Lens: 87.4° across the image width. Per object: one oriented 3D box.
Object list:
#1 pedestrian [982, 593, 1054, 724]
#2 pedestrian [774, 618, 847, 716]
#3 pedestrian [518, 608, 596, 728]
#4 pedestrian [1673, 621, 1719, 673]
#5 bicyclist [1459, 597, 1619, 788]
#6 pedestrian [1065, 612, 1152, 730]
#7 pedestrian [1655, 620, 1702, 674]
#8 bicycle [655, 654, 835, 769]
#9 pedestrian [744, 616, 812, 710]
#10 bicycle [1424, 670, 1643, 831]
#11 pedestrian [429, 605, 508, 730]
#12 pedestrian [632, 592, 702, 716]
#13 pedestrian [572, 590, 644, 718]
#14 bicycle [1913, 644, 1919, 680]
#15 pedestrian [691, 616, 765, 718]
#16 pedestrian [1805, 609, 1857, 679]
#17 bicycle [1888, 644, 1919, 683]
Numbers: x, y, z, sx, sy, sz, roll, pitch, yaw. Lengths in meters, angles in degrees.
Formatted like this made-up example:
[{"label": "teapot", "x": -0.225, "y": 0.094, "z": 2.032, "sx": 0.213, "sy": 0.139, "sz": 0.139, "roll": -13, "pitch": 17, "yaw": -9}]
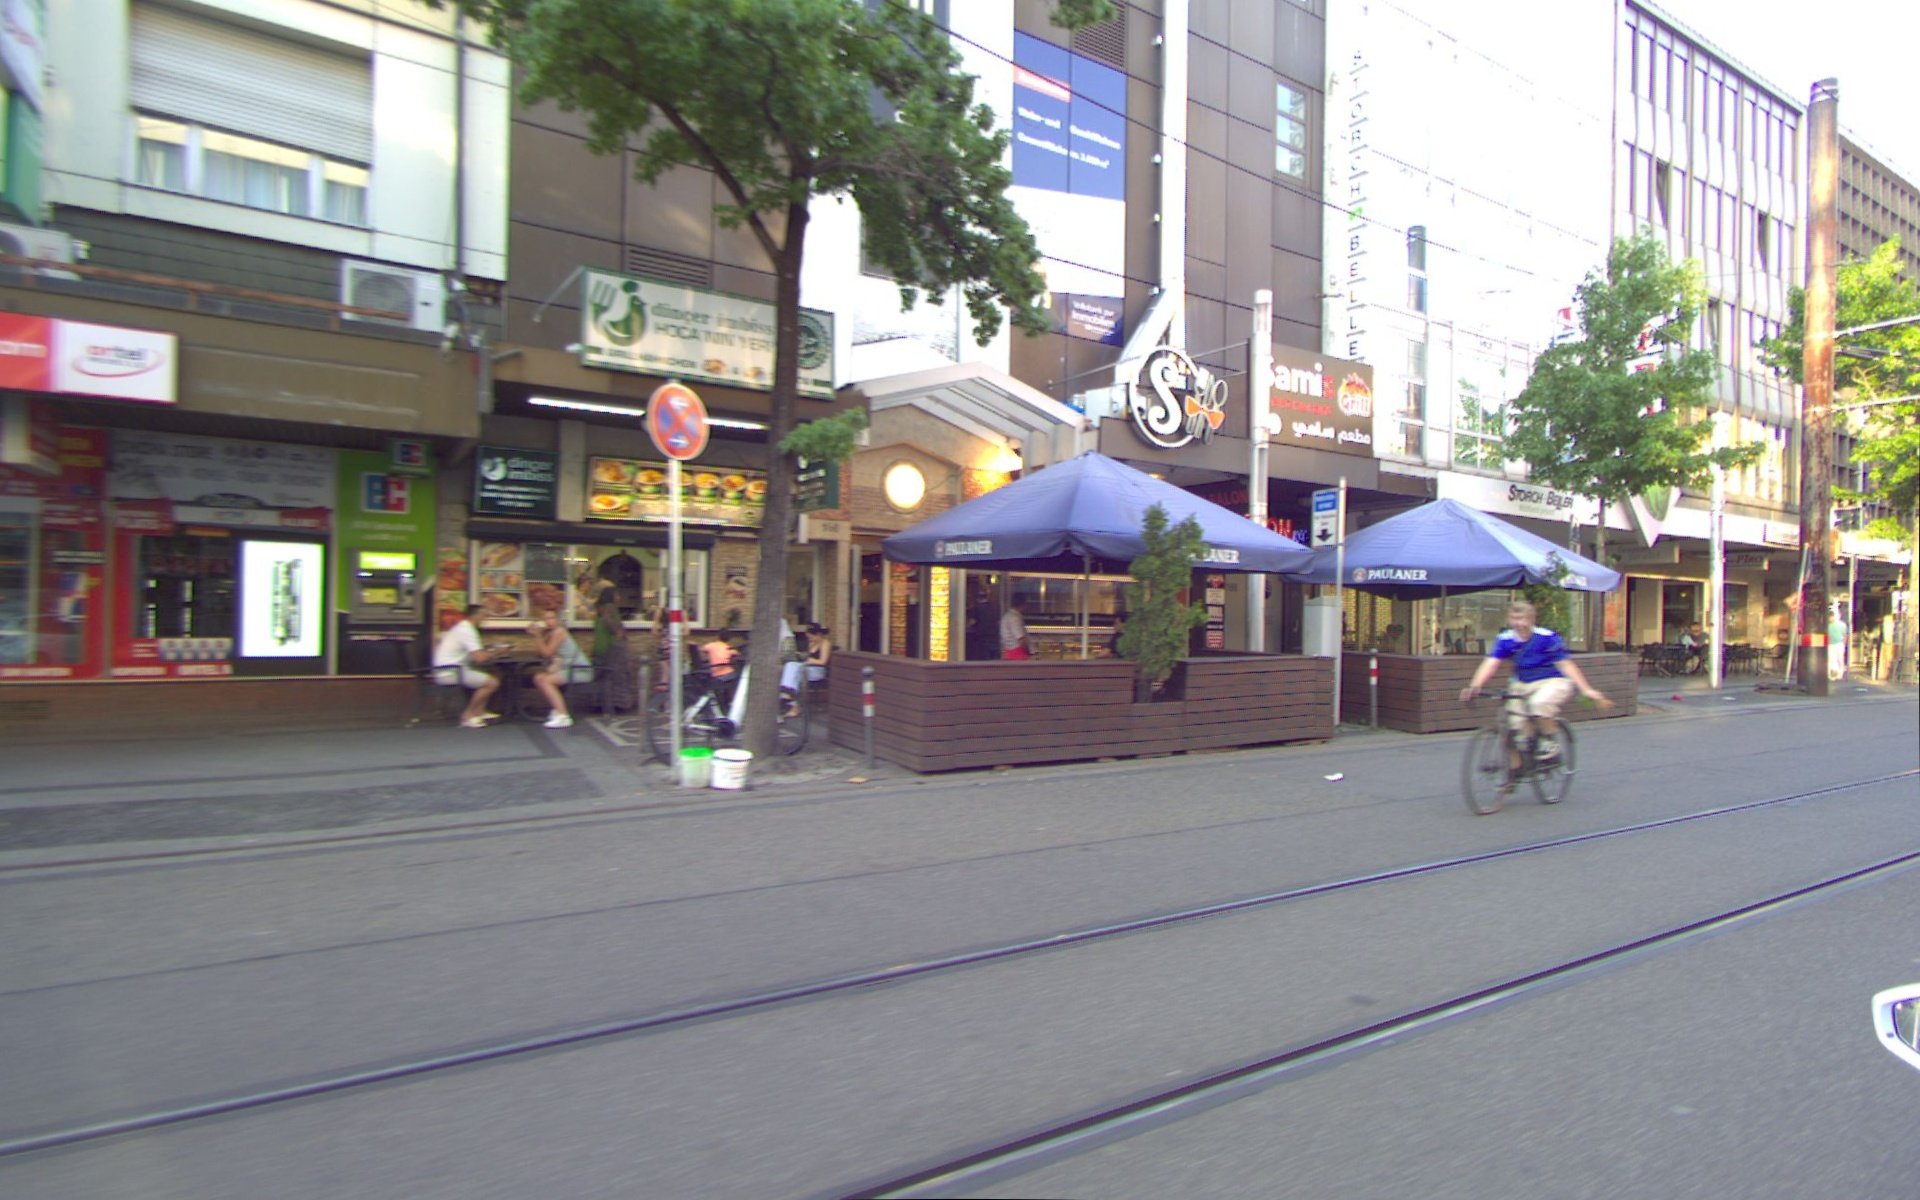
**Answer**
[{"label": "pedestrian", "x": 0.724, "y": 0.722, "z": 12.633, "sx": 0.559, "sy": 1.573, "sz": 0.652, "roll": 2, "pitch": 1, "yaw": -33}, {"label": "pedestrian", "x": -1.905, "y": 0.835, "z": 12.767, "sx": 0.658, "sy": 1.172, "sz": 0.637, "roll": 2, "pitch": 1, "yaw": -33}, {"label": "pedestrian", "x": -4.512, "y": 0.741, "z": 11.240, "sx": 0.658, "sy": 1.244, "sz": 0.637, "roll": 2, "pitch": 3, "yaw": -33}, {"label": "pedestrian", "x": 19.766, "y": 1.264, "z": 26.963, "sx": 0.902, "sy": 1.343, "sz": 0.666, "roll": 2, "pitch": 1, "yaw": -33}, {"label": "bicyclist", "x": 4.687, "y": 0.709, "z": 8.144, "sx": 0.887, "sy": 1.433, "sz": 0.754, "roll": 1, "pitch": 1, "yaw": -31}, {"label": "pedestrian", "x": 1.907, "y": 0.896, "z": 12.944, "sx": 0.738, "sy": 1.420, "sz": 0.760, "roll": 2, "pitch": 1, "yaw": -32}, {"label": "pedestrian", "x": 18.796, "y": 1.232, "z": 26.280, "sx": 0.902, "sy": 1.343, "sz": 0.666, "roll": 2, "pitch": 1, "yaw": -33}, {"label": "bicycle", "x": -2.047, "y": 1.043, "z": 9.807, "sx": 0.472, "sy": 0.938, "sz": 1.819, "roll": 2, "pitch": 1, "yaw": 38}, {"label": "pedestrian", "x": -2.433, "y": 0.825, "z": 13.388, "sx": 0.658, "sy": 1.172, "sz": 0.637, "roll": 2, "pitch": 1, "yaw": -33}, {"label": "bicycle", "x": 4.678, "y": 1.159, "z": 8.158, "sx": 1.845, "sy": 1.088, "sz": 0.726, "roll": 1, "pitch": 1, "yaw": -32}, {"label": "pedestrian", "x": -5.309, "y": 0.715, "z": 10.841, "sx": 0.658, "sy": 1.244, "sz": 0.637, "roll": 2, "pitch": 3, "yaw": -33}, {"label": "pedestrian", "x": -3.661, "y": 0.660, "z": 12.527, "sx": 0.636, "sy": 1.453, "sz": 0.657, "roll": 2, "pitch": 3, "yaw": -31}, {"label": "pedestrian", "x": -4.259, "y": 0.640, "z": 12.142, "sx": 0.636, "sy": 1.453, "sz": 0.657, "roll": 2, "pitch": 3, "yaw": -31}, {"label": "bicycle", "x": 27.601, "y": 1.770, "z": 27.762, "sx": 0.485, "sy": 1.003, "sz": 1.759, "roll": 0, "pitch": 2, "yaw": -36}, {"label": "pedestrian", "x": -2.825, "y": 0.804, "z": 12.236, "sx": 0.658, "sy": 1.172, "sz": 0.637, "roll": 2, "pitch": 1, "yaw": -33}, {"label": "pedestrian", "x": 23.227, "y": 1.165, "z": 26.797, "sx": 0.978, "sy": 1.816, "sz": 0.681, "roll": 2, "pitch": 1, "yaw": -29}, {"label": "bicycle", "x": 25.480, "y": 1.702, "z": 26.280, "sx": 0.481, "sy": 0.978, "sz": 1.772, "roll": 2, "pitch": 1, "yaw": -14}]
